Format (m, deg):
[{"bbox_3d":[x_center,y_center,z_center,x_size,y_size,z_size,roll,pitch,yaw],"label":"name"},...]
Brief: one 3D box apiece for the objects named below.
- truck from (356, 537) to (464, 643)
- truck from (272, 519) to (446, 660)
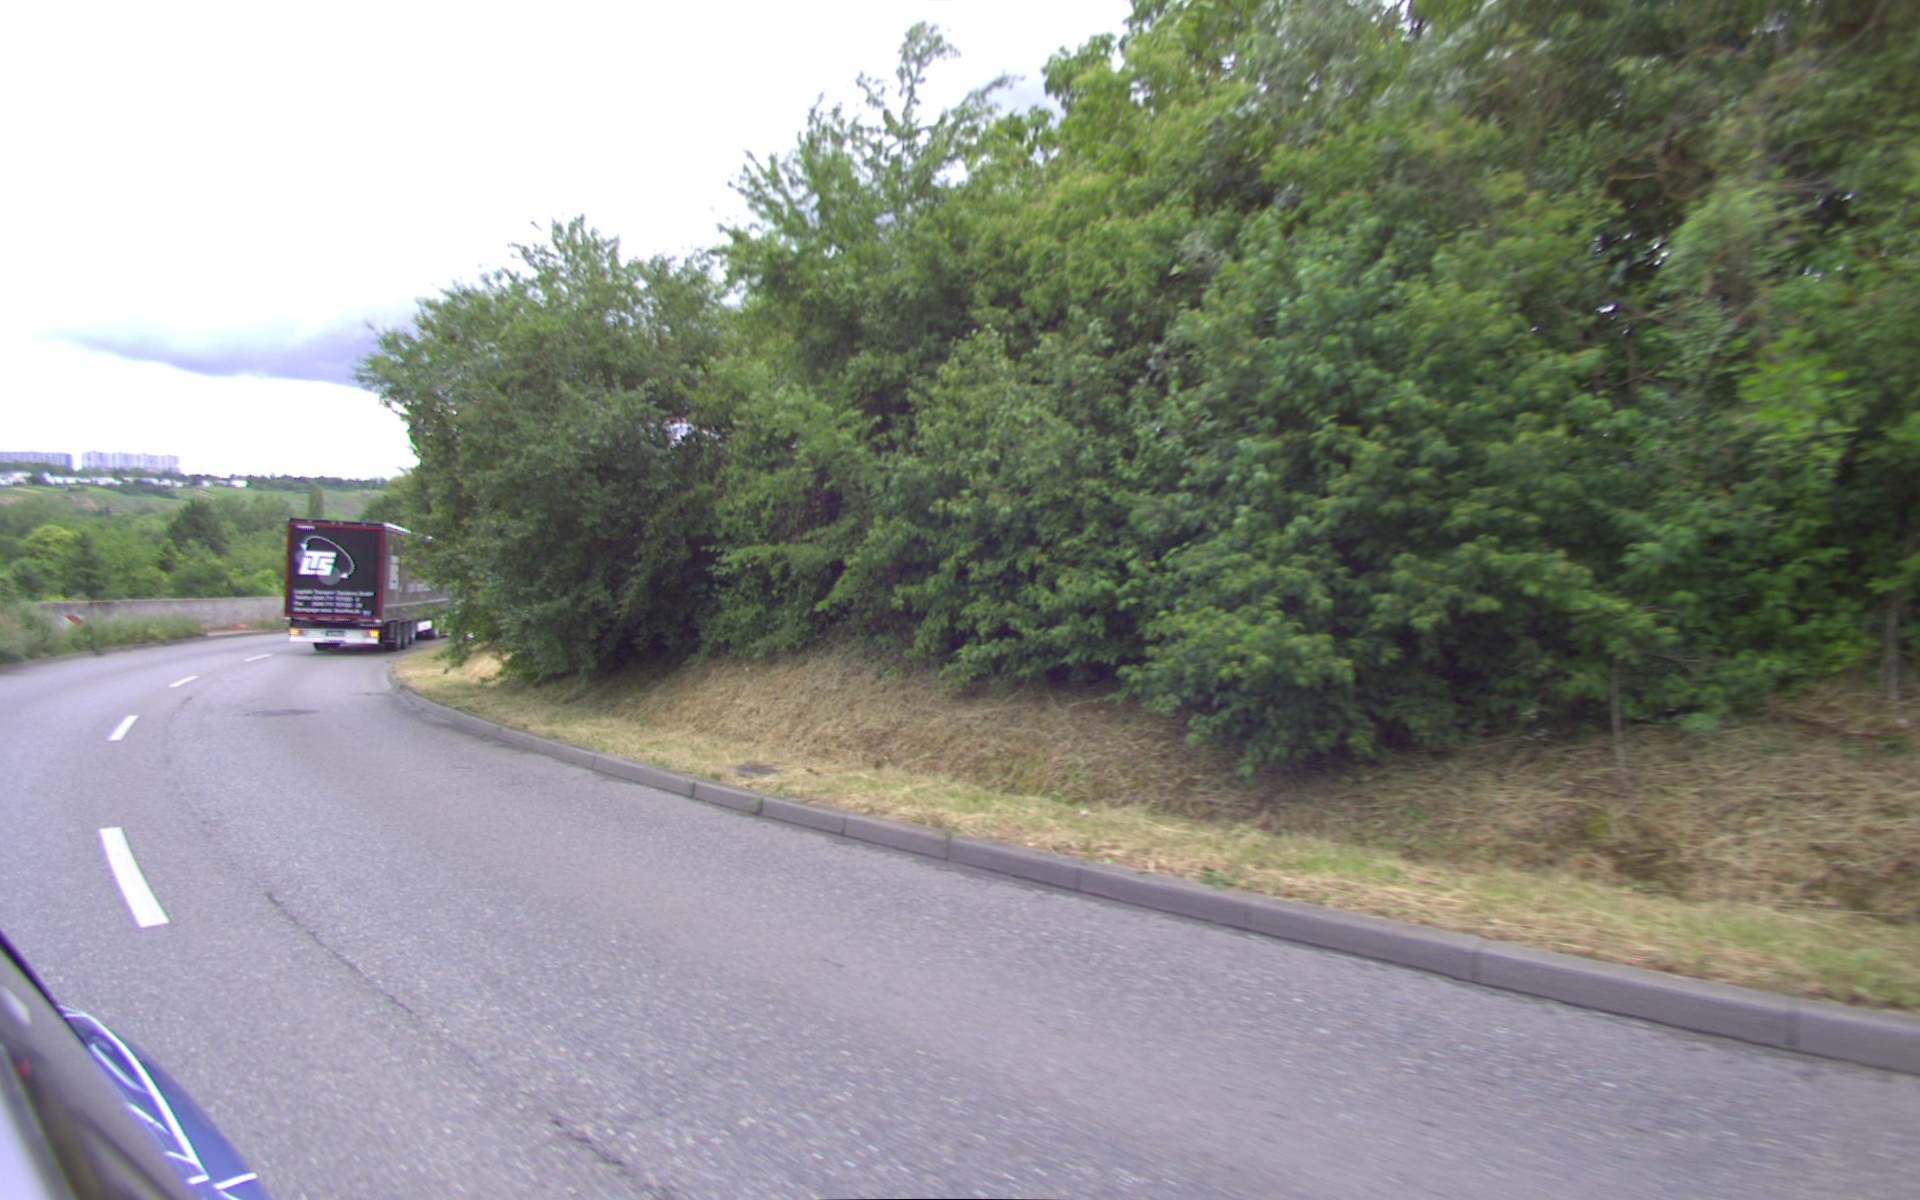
[{"bbox_3d":[-22.709,-0.400,42.145,2.667,3.980,6.349,3,0,-18],"label":"truck"},{"bbox_3d":[-20.643,-0.353,35.773,2.666,3.980,13.880,3,0,-20],"label":"truck"}]
